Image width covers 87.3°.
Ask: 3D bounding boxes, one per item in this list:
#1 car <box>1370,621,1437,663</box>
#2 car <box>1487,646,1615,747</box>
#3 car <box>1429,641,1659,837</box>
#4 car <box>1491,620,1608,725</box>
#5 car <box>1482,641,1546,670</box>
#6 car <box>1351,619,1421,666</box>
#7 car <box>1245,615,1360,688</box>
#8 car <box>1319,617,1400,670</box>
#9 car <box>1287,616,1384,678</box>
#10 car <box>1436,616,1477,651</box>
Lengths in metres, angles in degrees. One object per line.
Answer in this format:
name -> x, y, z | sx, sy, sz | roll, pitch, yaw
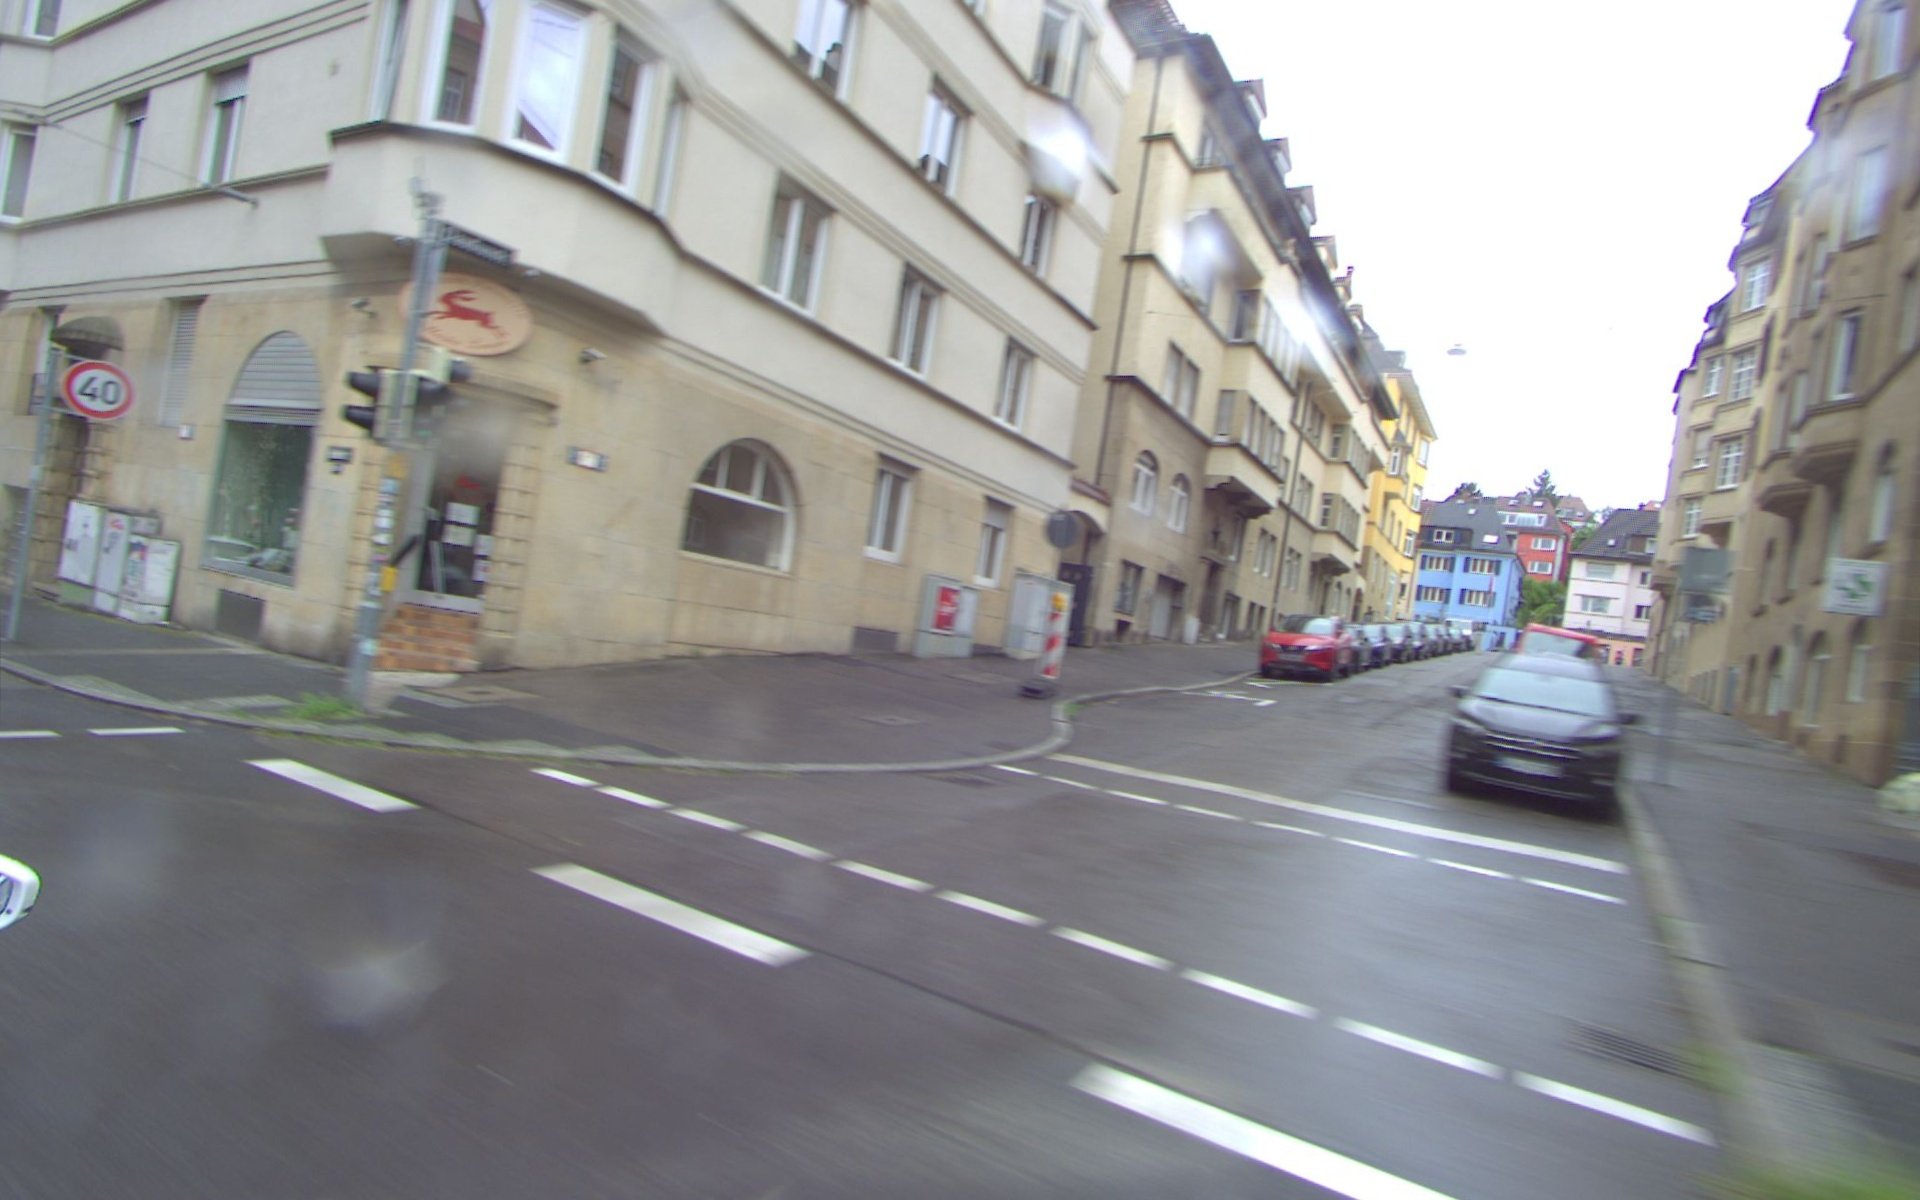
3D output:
car -> 19.221, 1.810, 43.507 | 2.004, 1.588, 4.460 | 4, 0, 31
car -> 12.412, 1.900, 21.042 | 1.828, 1.483, 4.673 | 14, 6, 32
car -> 7.062, 1.462, 12.229 | 1.843, 1.674, 4.512 | 8, 2, 31
car -> 15.265, 1.777, 26.043 | 2.038, 2.070, 5.078 | 13, 5, 31
car -> 43.947, 4.359, 79.816 | 4.284, 1.672, 1.996 | 7, 2, 31
car -> 16.654, 1.633, 39.211 | 1.946, 1.588, 4.361 | 4, 0, 30
car -> 8.876, 1.245, 25.844 | 1.946, 1.589, 4.359 | 4, 1, 30
car -> 13.813, 1.470, 34.644 | 1.946, 1.588, 4.361 | 4, 0, 30
car -> 11.259, 1.371, 29.986 | 1.946, 1.588, 4.361 | 4, 0, 30
car -> 31.340, 2.103, 63.394 | 1.946, 2.022, 4.361 | 4, 0, 30
